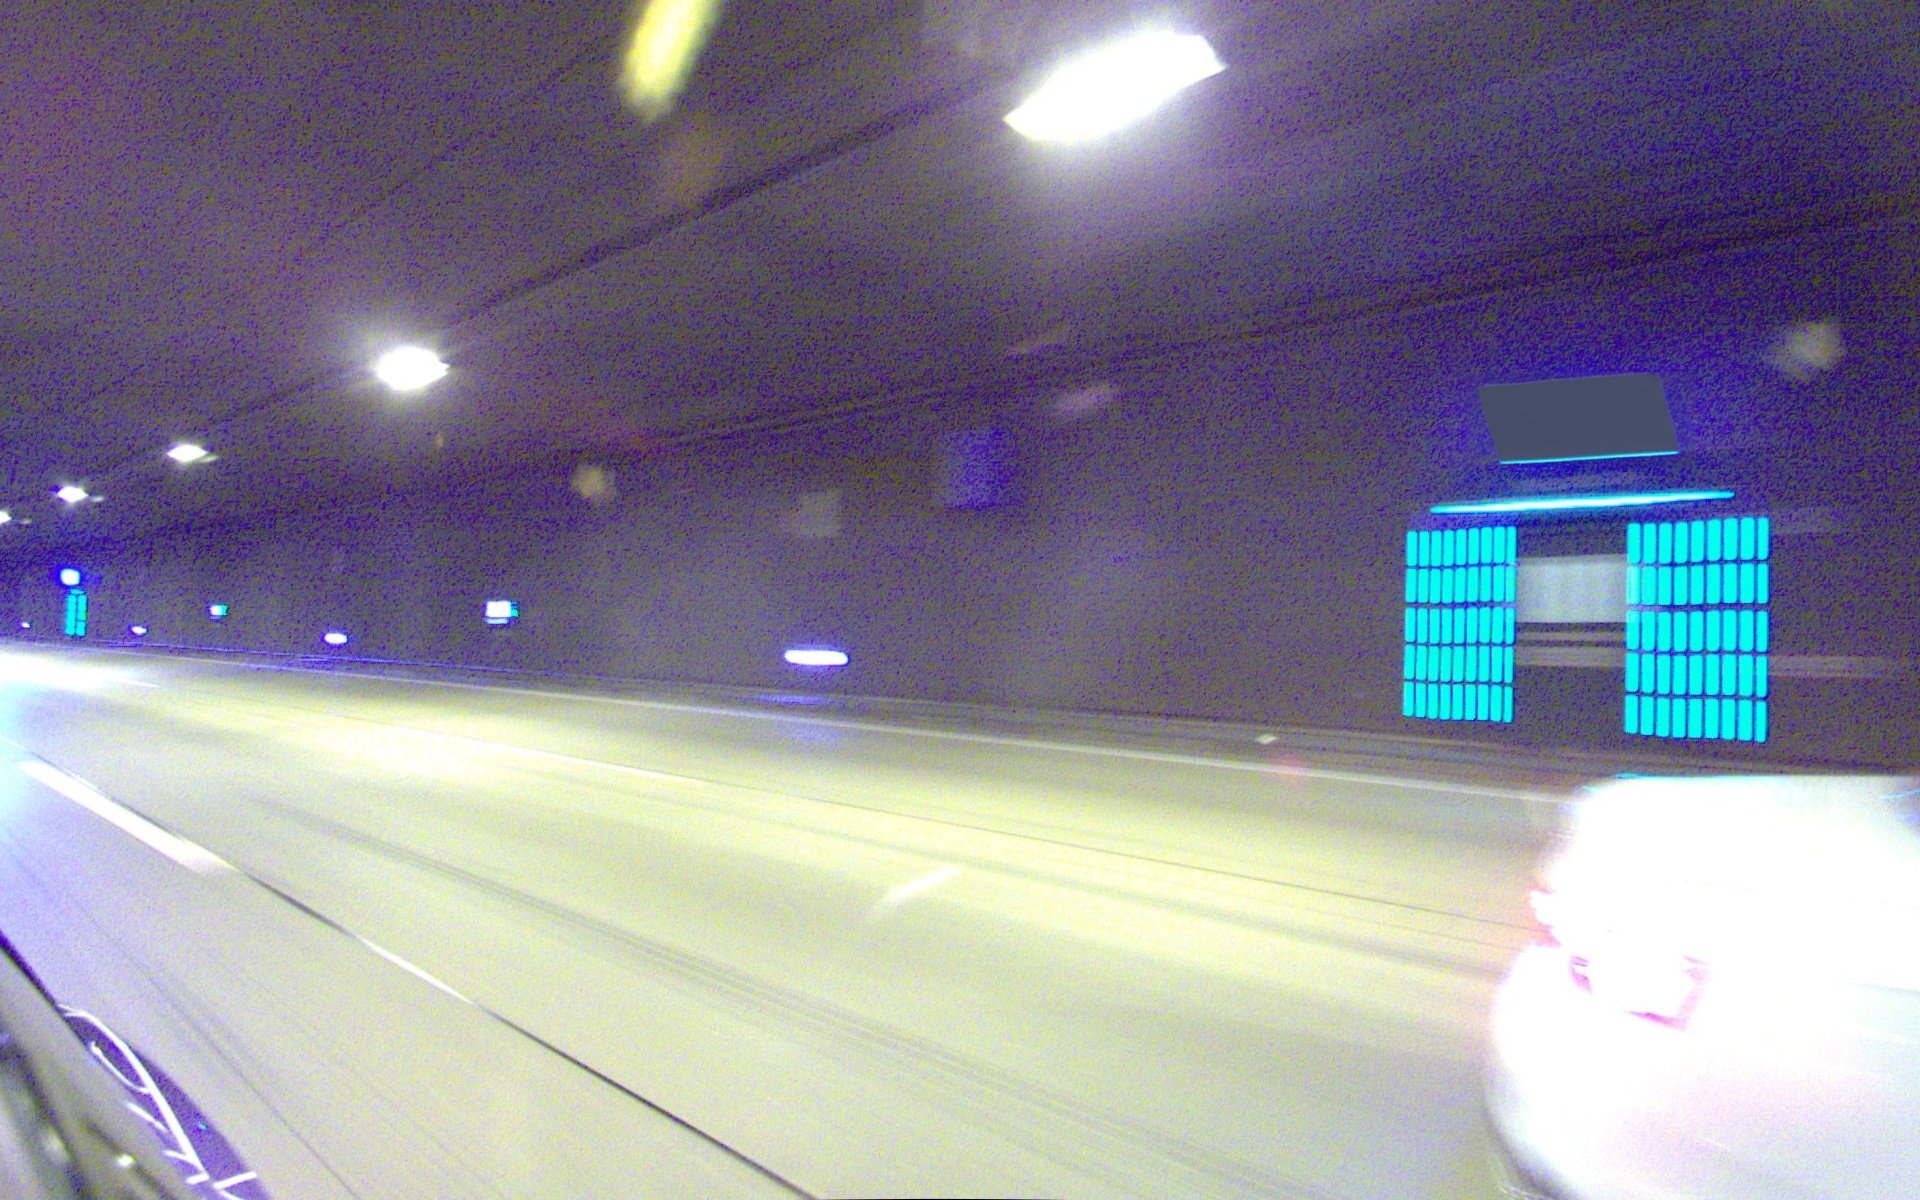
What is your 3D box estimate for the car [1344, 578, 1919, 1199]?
[{"bbox_3d":[3.150,0.675,0.814,5.057,1.430,1.684,-1,-2,41],"label":"car"}]
